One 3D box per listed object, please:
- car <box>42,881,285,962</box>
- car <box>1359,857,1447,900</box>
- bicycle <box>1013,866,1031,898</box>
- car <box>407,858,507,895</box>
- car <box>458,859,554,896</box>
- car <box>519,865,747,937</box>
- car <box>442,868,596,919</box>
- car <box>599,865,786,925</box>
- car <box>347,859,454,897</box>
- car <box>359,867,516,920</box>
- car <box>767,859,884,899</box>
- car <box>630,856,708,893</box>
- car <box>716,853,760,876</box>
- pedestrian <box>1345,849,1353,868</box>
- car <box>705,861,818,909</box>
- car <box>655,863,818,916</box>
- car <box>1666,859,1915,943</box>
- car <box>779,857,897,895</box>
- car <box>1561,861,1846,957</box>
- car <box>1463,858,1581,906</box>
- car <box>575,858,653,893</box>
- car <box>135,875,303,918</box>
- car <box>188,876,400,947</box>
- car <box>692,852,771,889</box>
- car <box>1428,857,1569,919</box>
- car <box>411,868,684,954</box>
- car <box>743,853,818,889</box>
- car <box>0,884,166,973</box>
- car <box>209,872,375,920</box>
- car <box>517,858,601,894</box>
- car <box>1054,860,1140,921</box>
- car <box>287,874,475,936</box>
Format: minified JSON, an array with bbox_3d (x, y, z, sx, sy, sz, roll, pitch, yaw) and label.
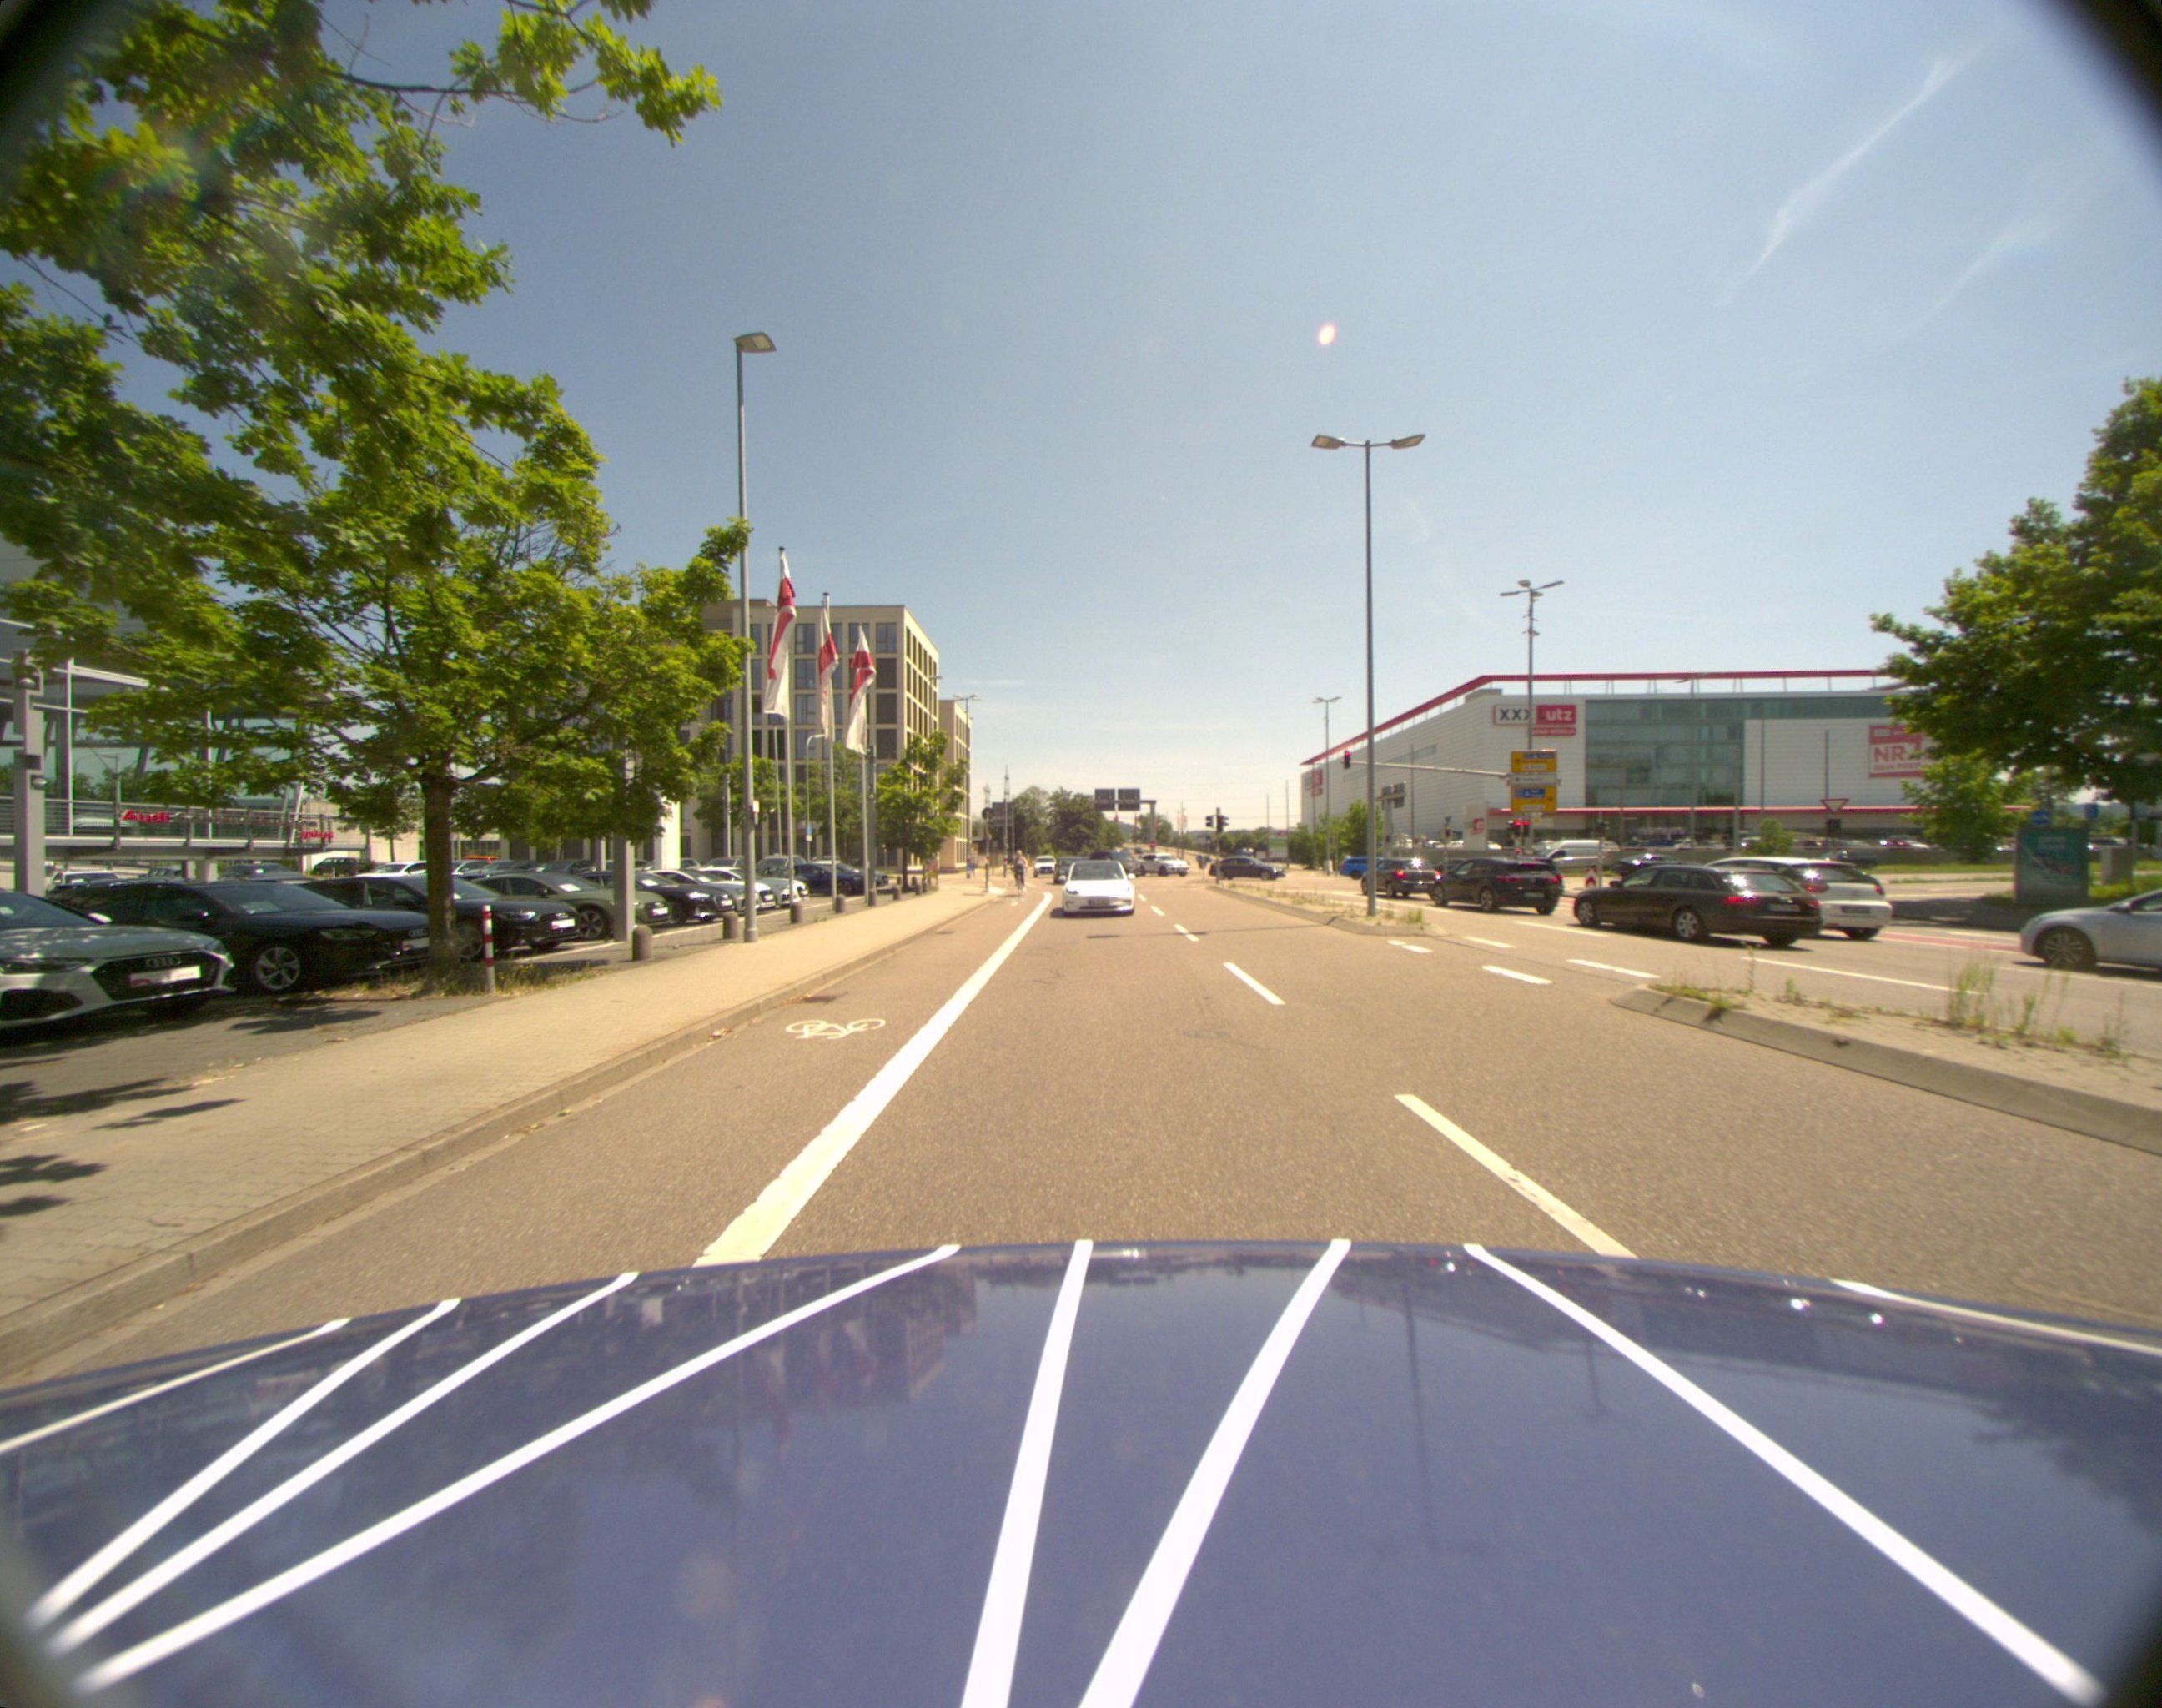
[{"bbox_3d":[-21.462,1.552,17.884,3.656,1.571,1.642,-3,1,0],"label":"car"},{"bbox_3d":[11.665,0.843,27.788,1.648,1.381,3.715,1,1,1],"label":"car"},{"bbox_3d":[-2.273,1.067,29.587,0.629,1.126,1.894,-1,1,-3],"label":"bicycle"},{"bbox_3d":[-31.216,1.099,38.184,1.849,1.645,3.997,-3,0,-4],"label":"car"},{"bbox_3d":[-28.469,1.113,37.801,1.849,1.645,3.997,-3,0,-4],"label":"car"},{"bbox_3d":[-10.522,1.079,18.068,4.236,1.382,1.869,-3,1,0],"label":"car"},{"bbox_3d":[-20.355,1.368,27.844,1.879,1.507,4.716,-3,0,3],"label":"car"},{"bbox_3d":[-10.554,1.082,20.874,4.109,1.341,1.869,-3,1,0],"label":"car"},{"bbox_3d":[-34.027,1.161,38.148,1.849,1.645,3.997,-3,0,-4],"label":"car"},{"bbox_3d":[-23.447,1.391,27.956,1.879,1.617,4.309,-3,0,3],"label":"car"},{"bbox_3d":[-10.509,1.003,31.447,4.106,1.382,1.869,-3,1,0],"label":"car"},{"bbox_3d":[-20.315,0.959,37.658,1.849,1.645,3.997,-3,0,-4],"label":"car"},{"bbox_3d":[-29.661,0.903,65.659,1.924,1.875,4.919,-1,0,-44],"label":"car"},{"bbox_3d":[25.342,0.432,71.844,0.604,1.773,0.827,0,1,5],"label":"pedestrian"},{"bbox_3d":[-11.283,1.053,27.274,1.867,1.411,4.663,-3,0,2],"label":"car"},{"bbox_3d":[-10.560,1.070,23.511,4.106,1.356,1.874,-3,1,0],"label":"car"},{"bbox_3d":[15.118,0.912,16.541,1.731,1.535,3.914,0,1,0],"label":"car"},{"bbox_3d":[-10.777,0.958,33.899,4.604,1.382,1.869,-3,1,0],"label":"car"},{"bbox_3d":[11.762,0.930,14.910,1.731,1.437,4.719,1,1,1],"label":"car"},{"bbox_3d":[14.926,0.907,25.993,1.665,1.416,4.037,0,1,0],"label":"car"},{"bbox_3d":[-23.004,1.068,37.583,1.641,1.606,3.817,-1,-1,-4],"label":"car"},{"bbox_3d":[-31.284,1.489,27.751,1.677,1.339,3.820,0,0,2],"label":"car"},{"bbox_3d":[-21.367,1.544,20.742,3.995,1.612,1.656,-3,1,0],"label":"car"},{"bbox_3d":[-17.484,0.777,38.181,1.848,1.645,3.998,-3,1,3],"label":"car"},{"bbox_3d":[11.797,0.885,21.828,1.731,1.496,4.243,1,1,1],"label":"car"},{"bbox_3d":[-10.594,1.092,15.334,4.111,1.396,1.869,-3,1,0],"label":"car"},{"bbox_3d":[-14.928,0.796,37.996,1.872,1.549,4.502,0,2,1],"label":"car"},{"bbox_3d":[-21.442,1.520,15.290,3.992,1.564,1.633,-3,1,0],"label":"car"},{"bbox_3d":[-28.924,1.478,28.061,1.856,1.531,4.000,0,0,2],"label":"car"},{"bbox_3d":[-25.832,1.042,37.791,1.633,1.645,3.909,-1,0,-4],"label":"car"},{"bbox_3d":[0.336,0.931,21.124,1.824,1.427,4.282,-2,0,-6],"label":"car"},{"bbox_3d":[-21.472,1.546,23.437,3.995,1.589,1.850,-3,1,0],"label":"car"}]
